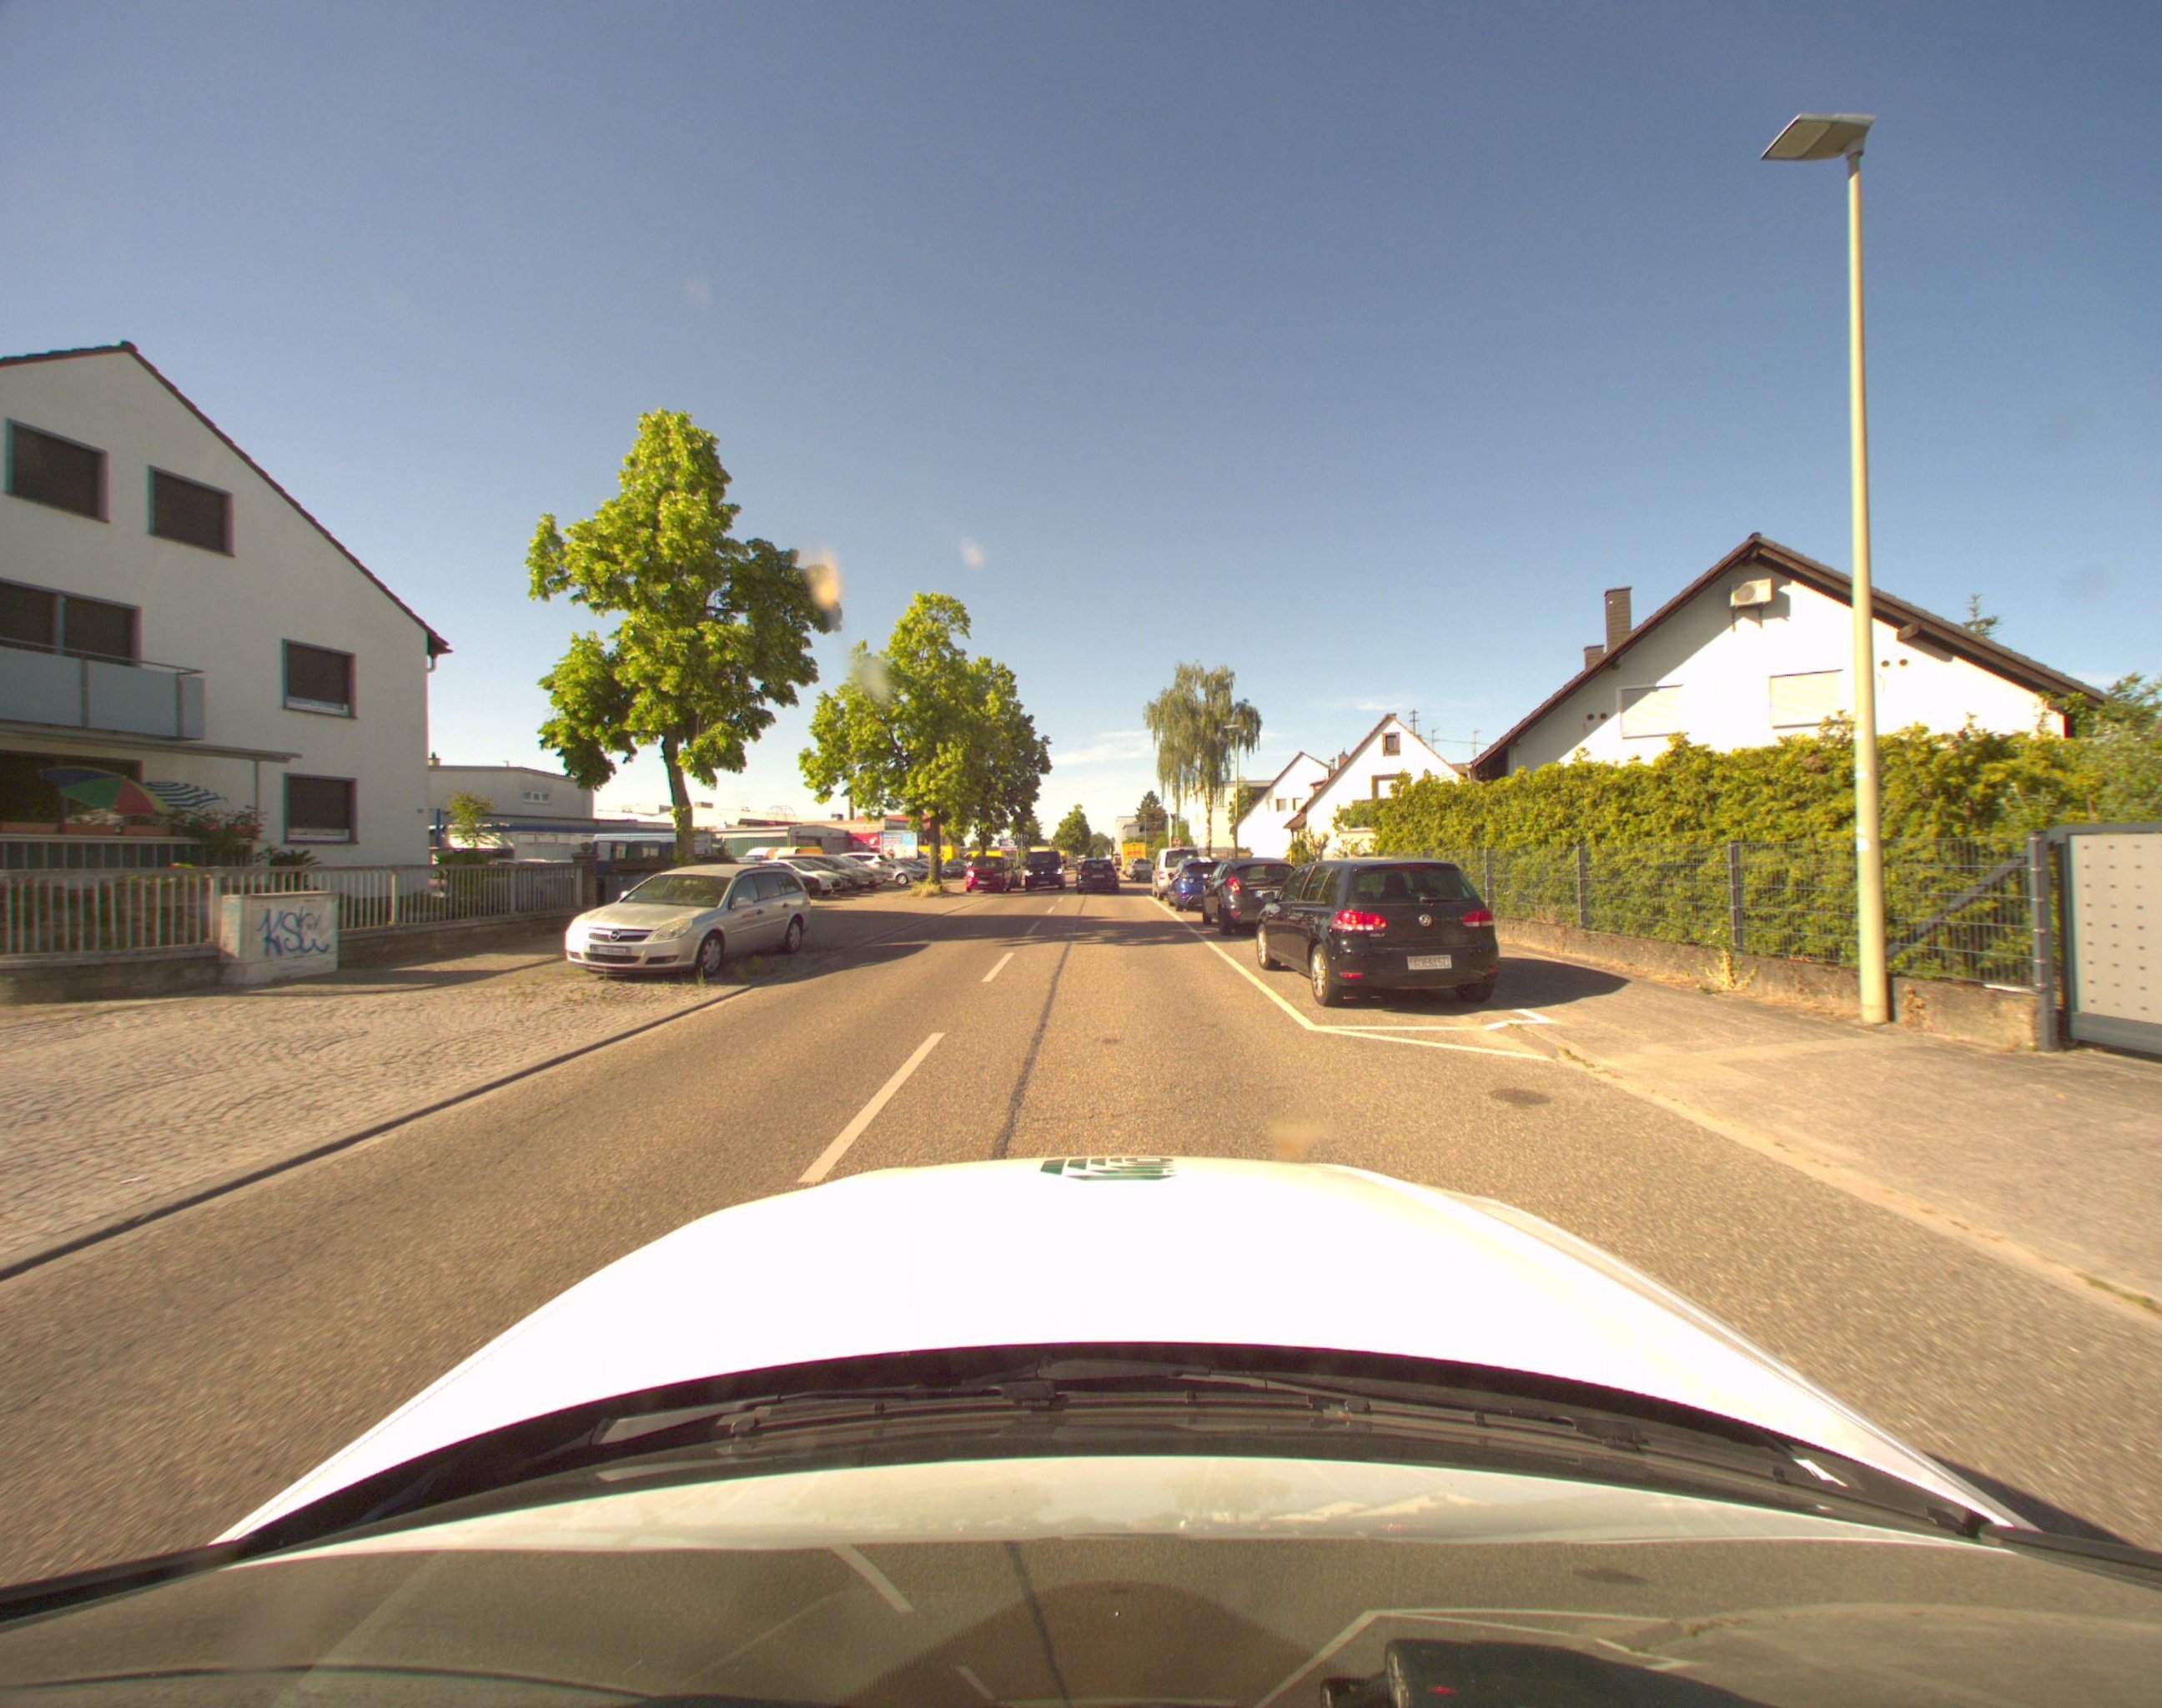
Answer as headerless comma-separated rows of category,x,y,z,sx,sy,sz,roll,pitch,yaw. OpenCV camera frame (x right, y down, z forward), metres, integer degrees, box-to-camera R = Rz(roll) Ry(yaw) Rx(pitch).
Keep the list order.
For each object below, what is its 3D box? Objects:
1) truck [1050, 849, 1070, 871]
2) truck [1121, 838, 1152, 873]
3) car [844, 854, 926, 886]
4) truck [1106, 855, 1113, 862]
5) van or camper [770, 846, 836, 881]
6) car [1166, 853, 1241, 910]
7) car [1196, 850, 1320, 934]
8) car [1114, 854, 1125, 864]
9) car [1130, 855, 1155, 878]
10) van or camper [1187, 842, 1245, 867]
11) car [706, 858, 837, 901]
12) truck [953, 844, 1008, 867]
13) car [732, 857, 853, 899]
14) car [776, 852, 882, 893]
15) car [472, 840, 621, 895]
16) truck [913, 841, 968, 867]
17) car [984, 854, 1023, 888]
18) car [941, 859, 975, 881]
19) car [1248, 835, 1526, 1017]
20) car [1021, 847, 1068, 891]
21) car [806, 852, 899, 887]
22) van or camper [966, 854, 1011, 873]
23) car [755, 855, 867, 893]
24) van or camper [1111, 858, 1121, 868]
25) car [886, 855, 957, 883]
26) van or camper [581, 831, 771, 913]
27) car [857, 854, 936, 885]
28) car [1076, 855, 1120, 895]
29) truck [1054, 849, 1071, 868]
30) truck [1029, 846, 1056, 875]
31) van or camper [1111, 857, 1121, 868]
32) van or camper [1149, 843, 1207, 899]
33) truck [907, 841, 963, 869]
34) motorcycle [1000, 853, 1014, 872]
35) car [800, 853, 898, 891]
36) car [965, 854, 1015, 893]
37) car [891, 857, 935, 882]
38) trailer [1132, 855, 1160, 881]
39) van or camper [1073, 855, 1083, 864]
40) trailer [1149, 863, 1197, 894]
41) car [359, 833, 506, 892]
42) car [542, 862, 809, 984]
truck,-3.017,0.887,118.518,2.394,2.983,6.376,1,0,2
truck,5.053,0.142,75.477,2.394,2.936,7.017,-3,-1,1
car,-11.248,0.912,46.977,4.231,1.728,1.767,-1,-1,3
truck,9.051,1.511,260.418,1.986,2.288,6.957,-1,0,2
van or camper,-22.731,0.725,66.839,2.150,2.715,6.290,-1,0,12
car,3.419,0.733,23.342,1.712,1.505,3.565,-1,0,2
car,3.479,0.698,16.726,1.713,1.505,3.906,-1,0,0
car,7.407,0.931,155.872,1.912,1.825,4.081,-1,0,1
car,4.336,0.878,57.256,1.666,1.542,4.048,0,0,5
van or camper,14.442,0.002,87.275,5.841,2.541,2.271,-1,0,-24
car,-11.552,0.946,30.503,4.226,1.542,1.769,-1,0,7
truck,-11.594,0.199,93.942,5.881,2.567,2.231,0,0,12
car,-11.711,0.971,33.192,4.228,1.542,1.769,-1,1,5
car,-11.535,0.843,37.450,4.229,1.752,1.768,-1,-1,4
car,-16.861,0.454,25.739,3.953,1.579,1.685,-2,-2,14
truck,-16.953,0.067,98.177,6.048,2.972,2.181,-1,-1,14
car,-4.267,0.924,45.412,1.668,1.771,4.555,1,0,1
car,-9.454,1.259,62.802,1.855,1.590,4.276,-1,-2,1
car,3.215,0.660,9.426,1.770,1.659,3.815,0,0,0
car,-1.786,0.731,41.377,1.887,2.031,4.819,-3,0,2
car,-11.810,0.794,42.153,4.226,1.728,1.769,-1,-1,7
van or camper,-10.304,1.075,90.914,4.518,2.014,2.256,-1,0,7
car,-11.635,0.847,35.323,4.235,1.585,1.765,0,0,0
van or camper,6.846,1.819,161.238,1.912,2.019,4.081,-1,0,1
car,-10.563,0.971,53.941,4.226,1.728,1.769,-1,-1,7
van or camper,-12.278,0.551,24.827,4.858,2.320,2.252,-1,-1,14
car,-11.125,0.908,49.213,4.226,1.728,1.769,-1,-1,7
car,0.740,0.818,34.153,1.705,1.532,3.690,-1,0,2
truck,-2.835,0.671,126.403,2.184,2.902,6.442,1,0,2
truck,-4.069,0.667,86.968,2.395,2.983,7.244,1,0,0
van or camper,7.110,1.761,166.118,1.986,2.310,4.001,-1,0,1
van or camper,3.434,0.583,29.450,1.712,1.890,4.181,-1,0,2
truck,-16.418,0.093,91.939,5.630,3.119,2.531,1,0,12
motorcycle,-7.680,0.863,84.780,0.777,1.873,3.045,2,1,6
car,-11.312,0.861,39.844,4.226,1.728,1.769,-1,-1,7
car,-4.348,0.895,39.617,1.797,1.752,4.343,1,0,2
car,-12.969,1.156,63.160,1.764,1.748,4.179,-1,1,12
trailer,4.096,0.870,51.307,1.621,1.538,3.200,-1,0,2
van or camper,-0.856,1.484,224.715,2.317,2.362,6.522,-1,0,-2
trailer,3.863,1.001,34.569,1.623,1.217,3.143,-1,0,-1
car,-21.388,0.285,26.883,4.012,1.835,1.685,-1,0,14
car,-5.788,0.883,12.301,1.680,1.435,4.212,1,0,3
